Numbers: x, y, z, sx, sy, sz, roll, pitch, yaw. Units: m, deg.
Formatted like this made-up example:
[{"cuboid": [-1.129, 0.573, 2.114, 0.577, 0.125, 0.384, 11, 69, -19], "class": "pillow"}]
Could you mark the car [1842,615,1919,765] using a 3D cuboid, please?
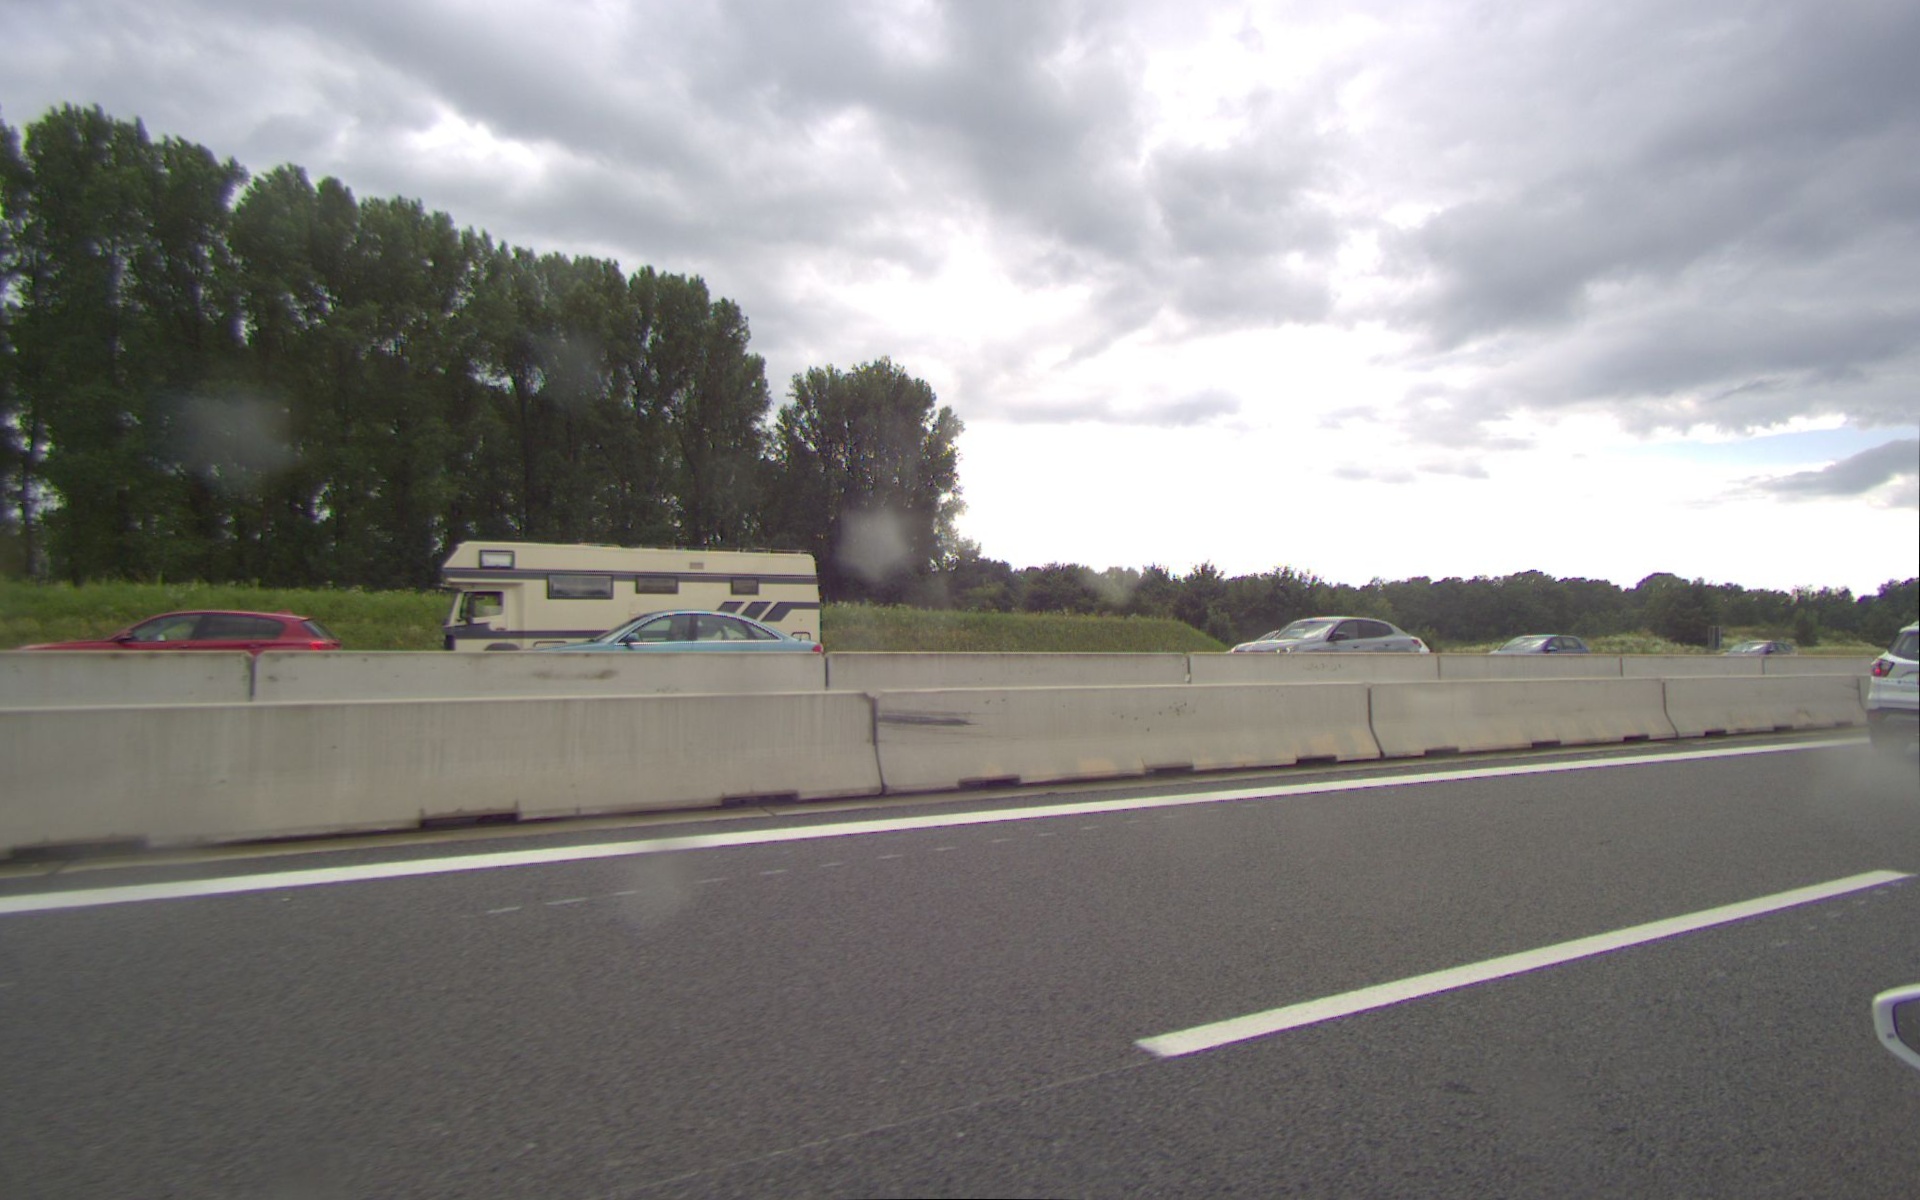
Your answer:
[{"cuboid": [13.222, 1.087, 12.577, 4.793, 1.712, 1.807, 1, -1, -29], "class": "car"}]

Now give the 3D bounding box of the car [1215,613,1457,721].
[{"cuboid": [8.024, 1.361, 21.300, 5.120, 2.040, 1.984, 2, -1, -30], "class": "car"}]

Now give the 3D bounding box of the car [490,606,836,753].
[{"cuboid": [-4.369, 1.090, 14.955, 4.582, 1.879, 1.984, 2, -1, -30], "class": "car"}]

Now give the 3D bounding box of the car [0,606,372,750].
[{"cuboid": [-11.431, 1.082, 14.874, 4.582, 1.853, 1.985, 2, -1, -29], "class": "car"}]

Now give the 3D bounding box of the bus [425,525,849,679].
[{"cuboid": [-7.954, 0.172, 25.533, 9.838, 3.377, 2.820, 2, -1, -28], "class": "bus"}]

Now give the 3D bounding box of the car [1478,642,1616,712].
[{"cuboid": [18.982, 2.437, 32.441, 4.482, 2.040, 1.841, 2, -1, -30], "class": "car"}]

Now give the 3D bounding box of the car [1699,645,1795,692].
[{"cuboid": [36.550, 3.157, 46.622, 4.175, 2.040, 1.986, 2, -1, -28], "class": "car"}]
